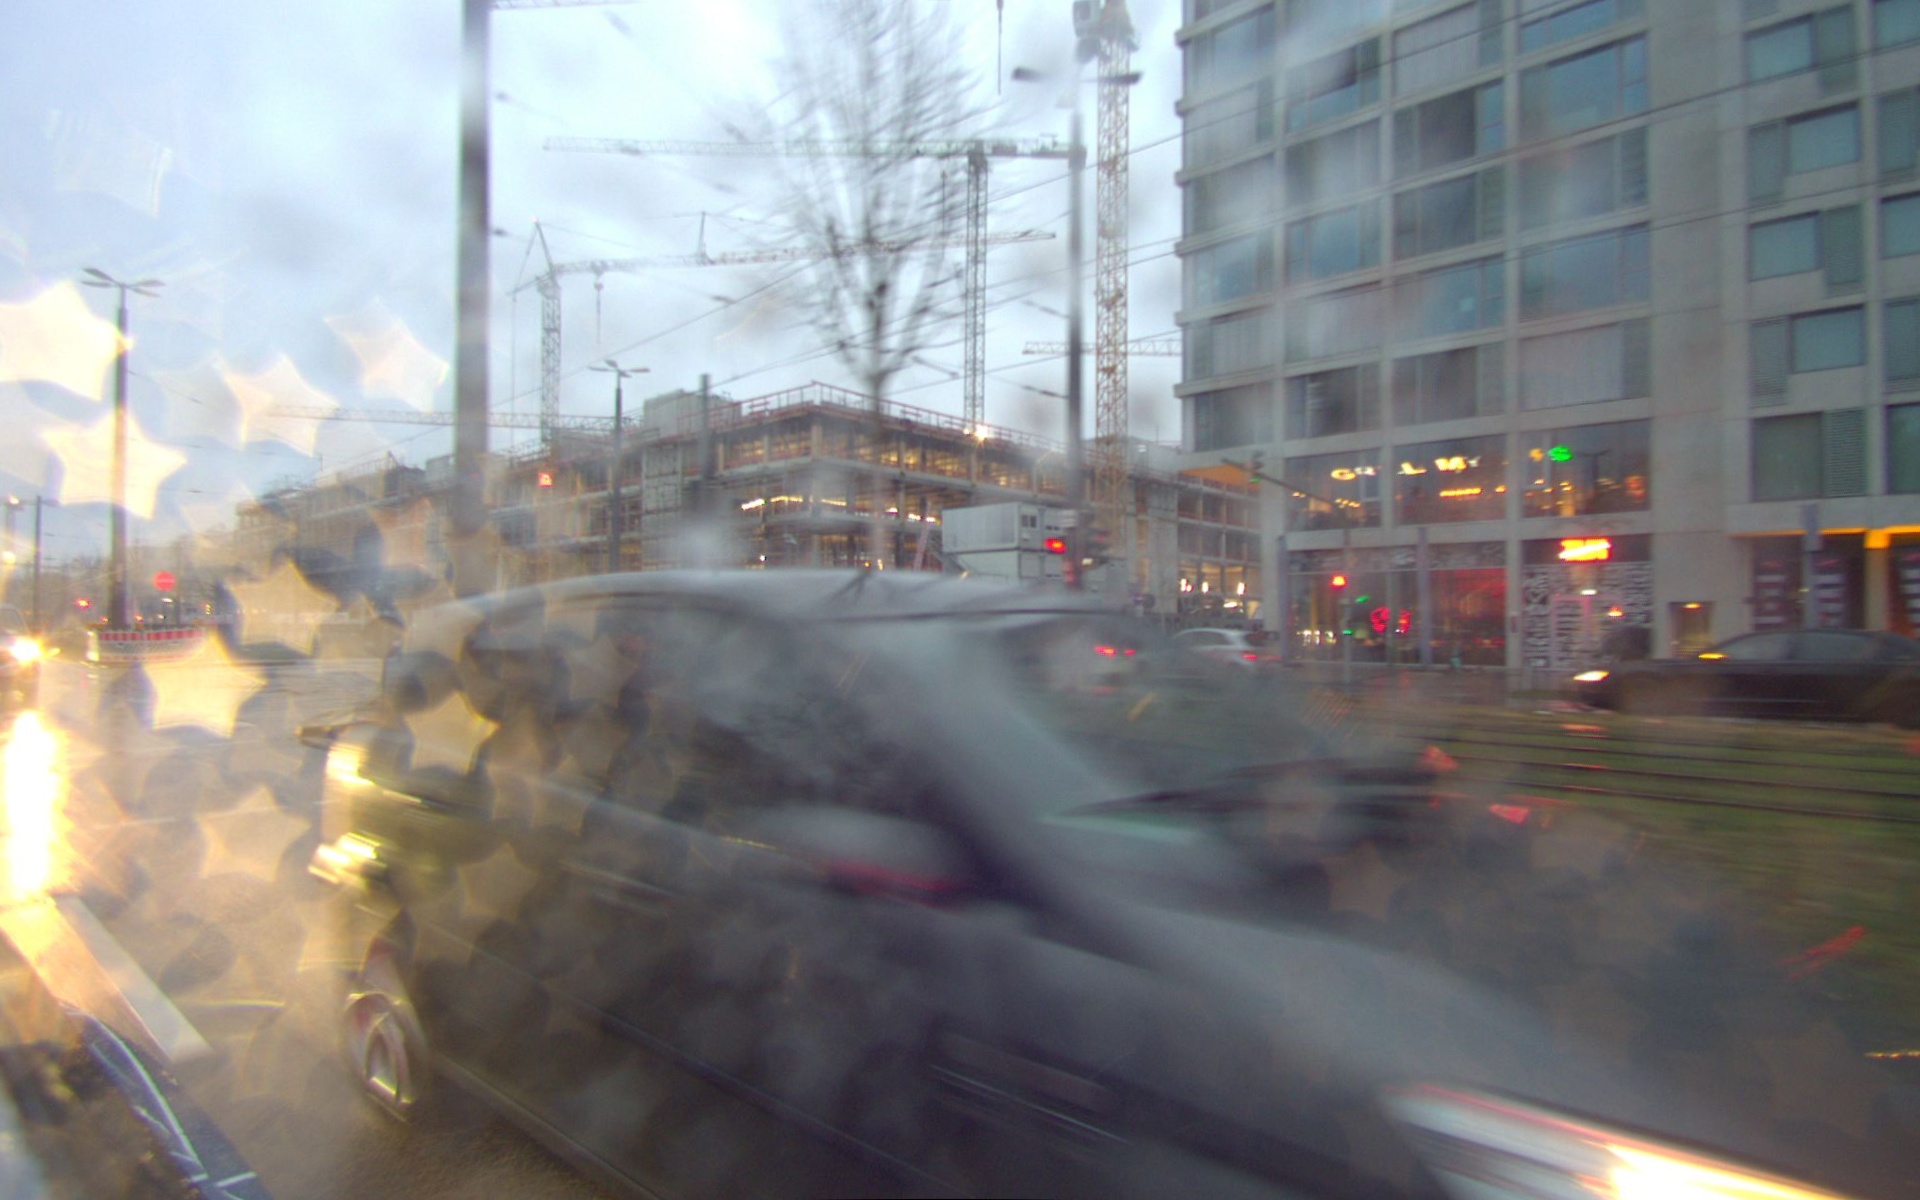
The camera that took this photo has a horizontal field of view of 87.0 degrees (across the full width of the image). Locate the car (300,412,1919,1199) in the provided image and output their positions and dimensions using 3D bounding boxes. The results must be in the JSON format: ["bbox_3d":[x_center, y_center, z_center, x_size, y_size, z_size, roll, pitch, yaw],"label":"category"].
[{"bbox_3d":[0.030,0.687,2.463,3.998,1.606,1.741,-1,-1,41],"label":"car"}]

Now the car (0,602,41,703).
[{"bbox_3d":[-18.512,0.945,18.748,3.999,1.746,1.833,-1,-1,42],"label":"car"}]

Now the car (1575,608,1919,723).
[{"bbox_3d":[12.090,0.874,14.743,5.093,1.473,1.973,-1,-1,41],"label":"car"}]

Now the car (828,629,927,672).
[{"bbox_3d":[-3.361,1.982,40.623,1.859,1.586,4.003,0,-1,-44],"label":"car"}]

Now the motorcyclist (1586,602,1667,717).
[{"bbox_3d":[11.504,0.997,17.465,1.033,1.900,0.862,-1,-1,41],"label":"motorcyclist"}]

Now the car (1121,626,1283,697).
[{"bbox_3d":[6.901,1.696,29.108,4.176,1.803,1.861,-1,-1,43],"label":"car"}]

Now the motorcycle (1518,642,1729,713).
[{"bbox_3d":[11.423,1.292,17.532,2.965,1.065,0.862,-1,-1,41],"label":"motorcycle"}]

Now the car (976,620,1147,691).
[{"bbox_3d":[2.768,1.476,28.442,4.599,1.803,1.861,-1,-1,43],"label":"car"}]
